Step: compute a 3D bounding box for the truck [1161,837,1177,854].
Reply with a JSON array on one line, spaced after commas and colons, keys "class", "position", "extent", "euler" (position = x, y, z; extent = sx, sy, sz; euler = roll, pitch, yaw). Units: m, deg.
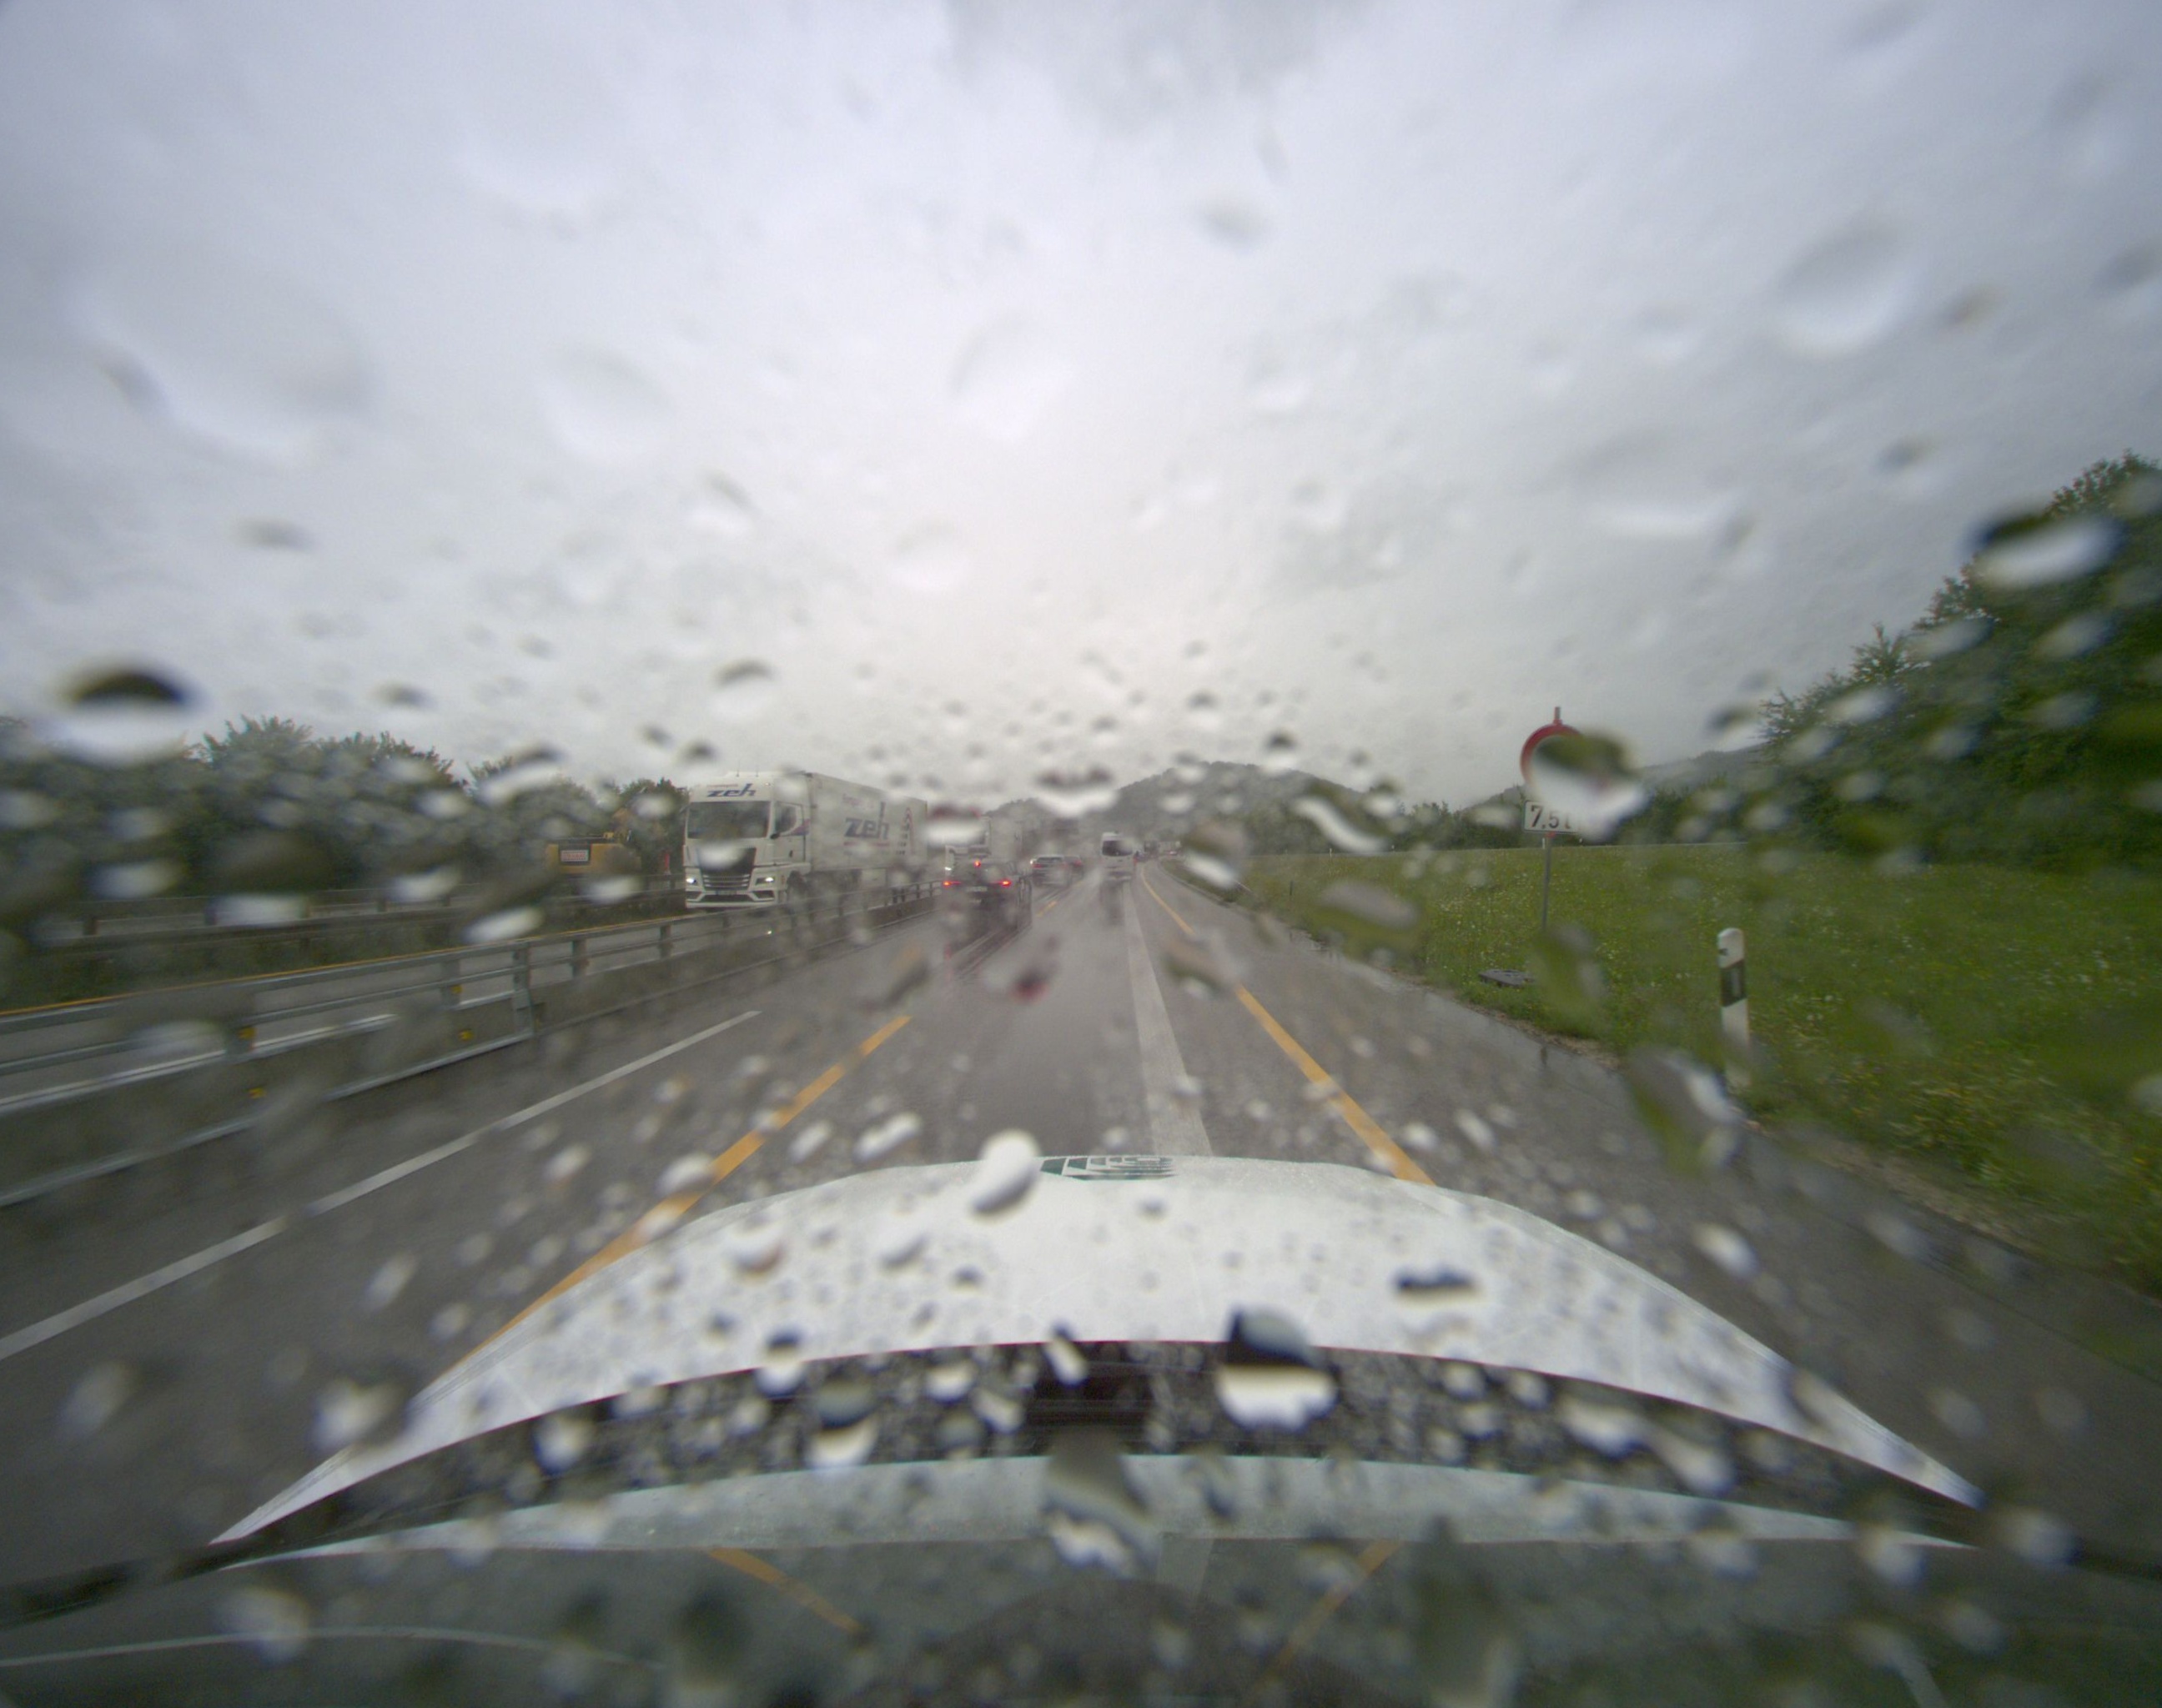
[{"class": "truck", "position": [25.941, -2.393, 238.716], "extent": [3.904, 4.785, 9.935], "euler": [0, 0, 10]}]

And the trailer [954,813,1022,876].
[{"class": "trailer", "position": [-6.586, -0.660, 59.909], "extent": [2.895, 4.089, 12.230], "euler": [-1, 0, 3]}]

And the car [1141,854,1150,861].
[{"class": "car", "position": [10.736, 0.575, 135.385], "extent": [1.379, 1.256, 3.124], "euler": [-1, 0, 2]}]

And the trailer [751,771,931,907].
[{"class": "trailer", "position": [-8.480, -0.526, 31.126], "extent": [2.484, 4.049, 12.596], "euler": [-2, 1, 3]}]

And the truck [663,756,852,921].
[{"class": "truck", "position": [-8.879, -0.419, 23.291], "extent": [2.473, 4.031, 6.454], "euler": [-1, 1, 3]}]

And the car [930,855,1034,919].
[{"class": "car", "position": [-2.390, 0.760, 20.858], "extent": [1.931, 1.427, 4.762], "euler": [0, 0, 2]}]

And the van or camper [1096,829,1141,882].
[{"class": "van or camper", "position": [1.994, 0.103, 44.678], "extent": [2.133, 2.721, 4.646], "euler": [-1, 0, -1]}]

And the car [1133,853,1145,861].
[{"class": "car", "position": [8.030, 0.461, 113.584], "extent": [1.380, 1.078, 3.121], "euler": [-1, 0, -1]}]

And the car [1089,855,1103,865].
[{"class": "car", "position": [1.547, 0.616, 83.815], "extent": [1.257, 1.078, 3.256], "euler": [-1, 0, 2]}]

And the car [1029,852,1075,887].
[{"class": "car", "position": [-1.393, 0.749, 40.755], "extent": [1.859, 1.659, 3.992], "euler": [-1, 0, 3]}]

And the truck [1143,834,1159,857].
[{"class": "truck", "position": [15.034, -1.820, 174.950], "extent": [3.304, 4.785, 9.923], "euler": [0, 0, 6]}]

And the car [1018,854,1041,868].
[{"class": "car", "position": [-5.670, 0.765, 89.687], "extent": [1.985, 1.505, 4.299], "euler": [-1, 0, 3]}]

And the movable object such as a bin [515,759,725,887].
[{"class": "movable object such as a bin", "position": [-23.710, -1.383, 43.124], "extent": [4.152, 5.915, 11.056], "euler": [0, 0, 4]}]

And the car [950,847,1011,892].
[{"class": "car", "position": [-4.526, 0.654, 37.428], "extent": [1.985, 1.884, 4.436], "euler": [-2, 0, 3]}]

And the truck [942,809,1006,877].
[{"class": "truck", "position": [-6.934, -0.710, 53.665], "extent": [2.872, 4.101, 6.932], "euler": [-1, 0, 3]}]

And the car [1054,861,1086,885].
[{"class": "car", "position": [-0.716, 1.261, 55.615], "extent": [1.844, 1.500, 4.003], "euler": [-1, 0, 3]}]
